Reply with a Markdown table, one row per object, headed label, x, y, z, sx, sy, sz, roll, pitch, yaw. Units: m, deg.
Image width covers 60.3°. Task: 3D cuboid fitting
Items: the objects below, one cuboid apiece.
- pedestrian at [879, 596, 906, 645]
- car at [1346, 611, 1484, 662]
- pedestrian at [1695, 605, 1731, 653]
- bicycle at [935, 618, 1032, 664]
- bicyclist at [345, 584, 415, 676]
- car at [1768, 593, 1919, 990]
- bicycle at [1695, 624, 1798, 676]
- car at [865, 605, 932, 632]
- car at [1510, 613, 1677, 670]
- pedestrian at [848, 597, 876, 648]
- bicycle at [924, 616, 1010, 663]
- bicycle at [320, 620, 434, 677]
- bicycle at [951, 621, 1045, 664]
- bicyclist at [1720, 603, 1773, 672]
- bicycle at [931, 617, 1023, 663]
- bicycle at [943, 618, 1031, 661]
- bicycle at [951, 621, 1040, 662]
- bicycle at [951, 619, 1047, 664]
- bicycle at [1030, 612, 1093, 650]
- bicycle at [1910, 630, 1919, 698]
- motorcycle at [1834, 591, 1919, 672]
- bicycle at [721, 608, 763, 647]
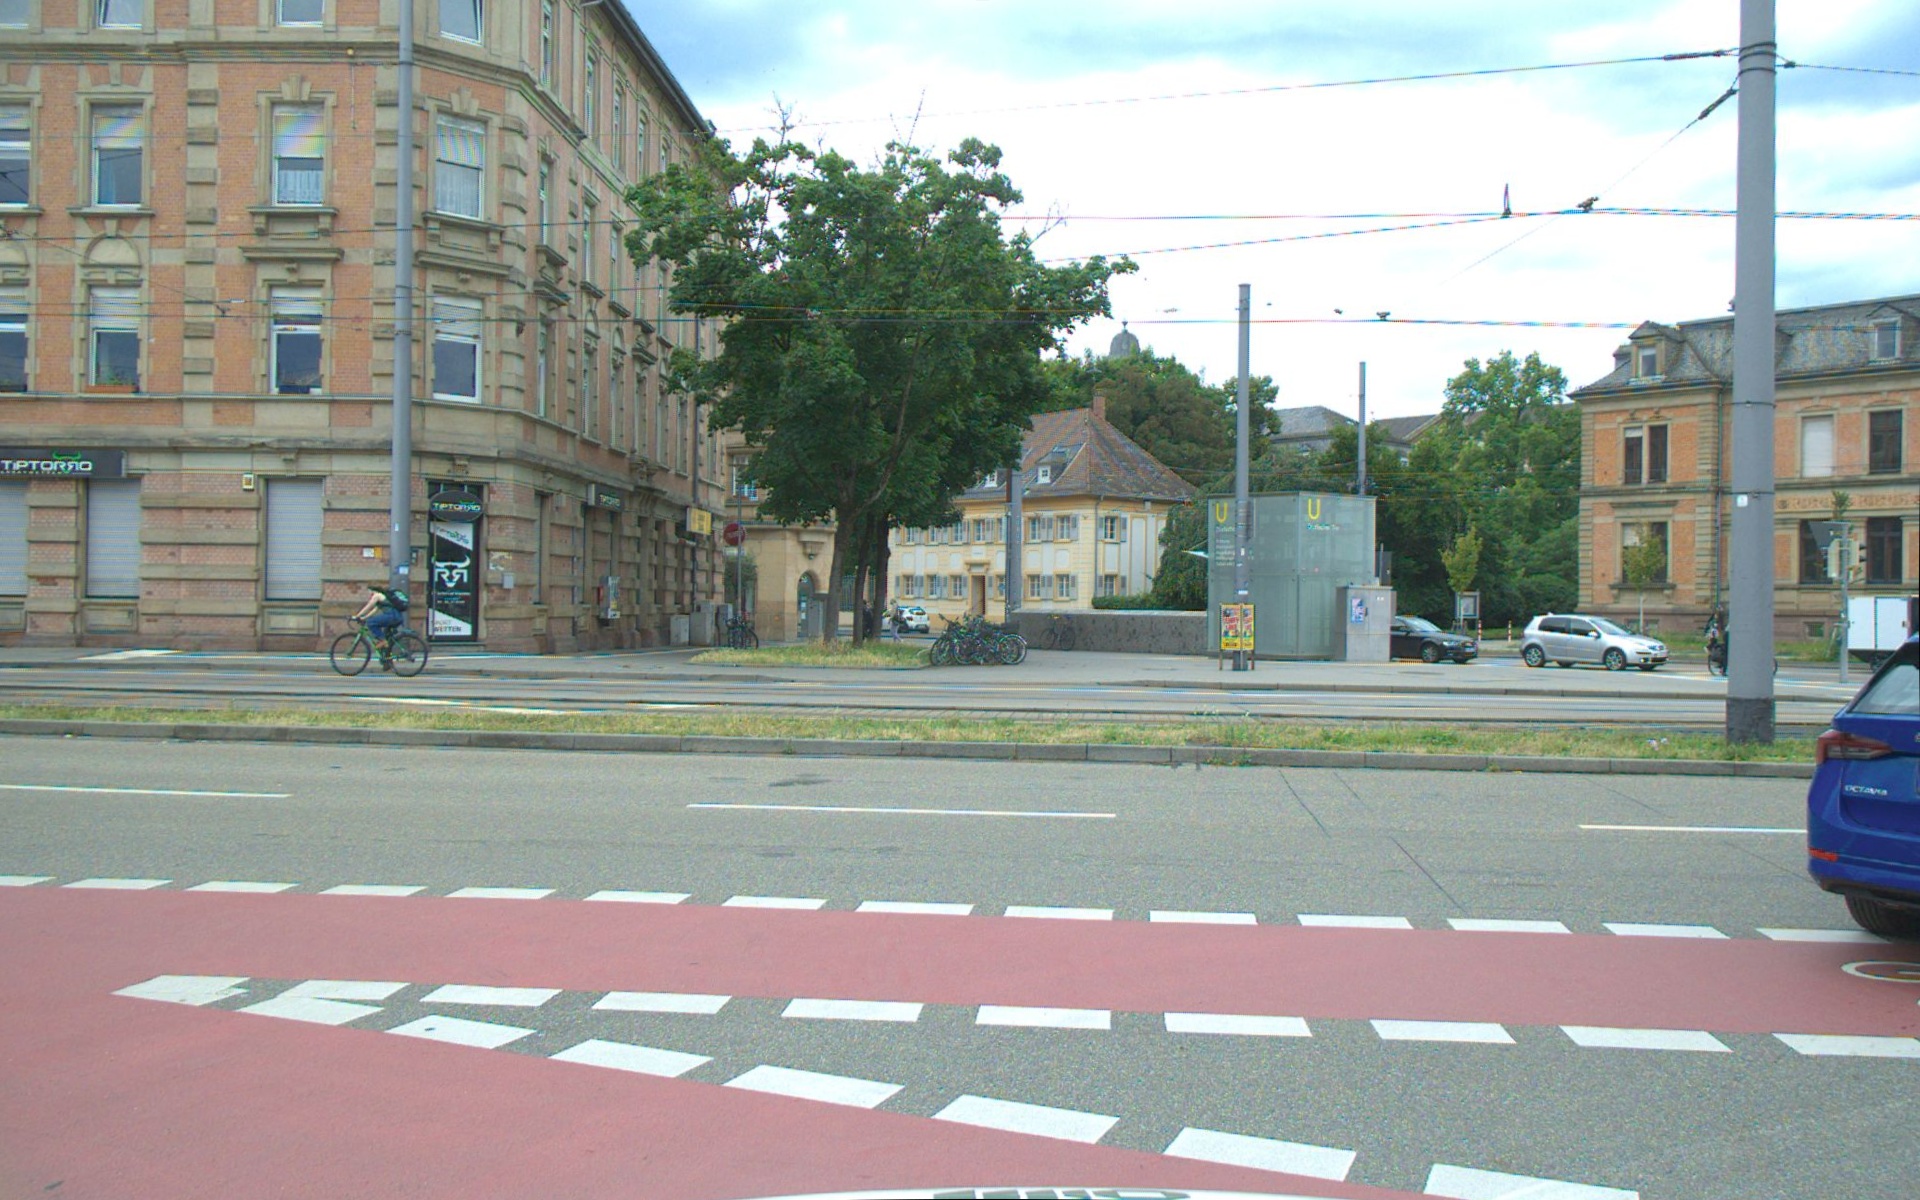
| label | x | y | z | sx | sy | sz | roll | pitch | yaw |
| --- | --- | --- | --- | --- | --- | --- | --- | --- | --- |
| pedestrian | -2.427 | 0.730 | 59.579 | 0.826 | 1.753 | 0.953 | 1 | 0 | 6 |
| car | 14.043 | 1.097 | 51.216 | 1.675 | 1.474 | 4.098 | 0 | 0 | -32 |
| pedestrian | 28.986 | 1.116 | 63.686 | 1.107 | 1.794 | 0.754 | 0 | 0 | 41 |
| bicycle | 0.544 | 0.937 | 37.929 | 2.166 | 1.024 | 0.480 | 1 | 0 | 13 |
| bicyclist | -9.723 | 0.497 | 27.730 | 0.920 | 1.520 | 0.663 | 1 | 0 | -1 |
| car | 5.583 | 0.770 | 7.470 | 4.420 | 1.514 | 1.761 | 1 | 0 | -39 |
| bicycle | 19.310 | 1.217 | 40.639 | 0.848 | 1.229 | 2.169 | 2 | -1 | -36 |
| car | -3.578 | 1.059 | 95.591 | 1.681 | 1.474 | 4.127 | 0 | 0 | -40 |
| car | 17.642 | 1.116 | 46.234 | 1.742 | 1.479 | 4.108 | 0 | 0 | -36 |
| pedestrian | -3.423 | 0.777 | 57.982 | 0.826 | 1.753 | 0.953 | 1 | 0 | 6 |
| bicycle | 0.153 | 0.879 | 36.659 | 1.823 | 1.004 | 0.500 | 1 | 0 | 11 |
| bicycle | -9.756 | 0.808 | 27.716 | 1.679 | 0.931 | 0.607 | 1 | 0 | -1 |
| bicycle | 0.923 | 1.015 | 39.920 | 2.166 | 1.004 | 0.611 | 1 | 0 | 13 |
| bicyclist | 19.321 | 0.916 | 40.641 | 0.846 | 1.651 | 0.906 | 2 | -1 | -37 |
| bicycle | 0.383 | 0.896 | 37.386 | 1.988 | 1.004 | 0.522 | 1 | 0 | 13 |
| bicycle | 0.704 | 1.017 | 42.842 | 2.166 | 1.057 | 0.689 | 1 | 0 | 13 |
| bicycle | 0.895 | 1.037 | 41.572 | 2.166 | 1.004 | 0.586 | 1 | 0 | 13 |
| bicycle | 0.909 | 0.975 | 38.645 | 2.166 | 1.004 | 0.500 | 1 | 0 | 13 |
| bicycle | 3.198 | 0.964 | 52.249 | 0.731 | 1.134 | 2.335 | 1 | 0 | -34 |
| bicycle | 18.229 | 1.166 | 30.158 | 0.796 | 1.264 | 2.001 | -1 | -2 | 5 |
| motorcycle | 24.952 | 0.814 | 42.948 | 1.678 | 2.049 | 3.638 | 1 | 0 | -38 |
| bicycle | -5.489 | 0.685 | 41.814 | 0.646 | 0.930 | 1.991 | 1 | 0 | 4 |
